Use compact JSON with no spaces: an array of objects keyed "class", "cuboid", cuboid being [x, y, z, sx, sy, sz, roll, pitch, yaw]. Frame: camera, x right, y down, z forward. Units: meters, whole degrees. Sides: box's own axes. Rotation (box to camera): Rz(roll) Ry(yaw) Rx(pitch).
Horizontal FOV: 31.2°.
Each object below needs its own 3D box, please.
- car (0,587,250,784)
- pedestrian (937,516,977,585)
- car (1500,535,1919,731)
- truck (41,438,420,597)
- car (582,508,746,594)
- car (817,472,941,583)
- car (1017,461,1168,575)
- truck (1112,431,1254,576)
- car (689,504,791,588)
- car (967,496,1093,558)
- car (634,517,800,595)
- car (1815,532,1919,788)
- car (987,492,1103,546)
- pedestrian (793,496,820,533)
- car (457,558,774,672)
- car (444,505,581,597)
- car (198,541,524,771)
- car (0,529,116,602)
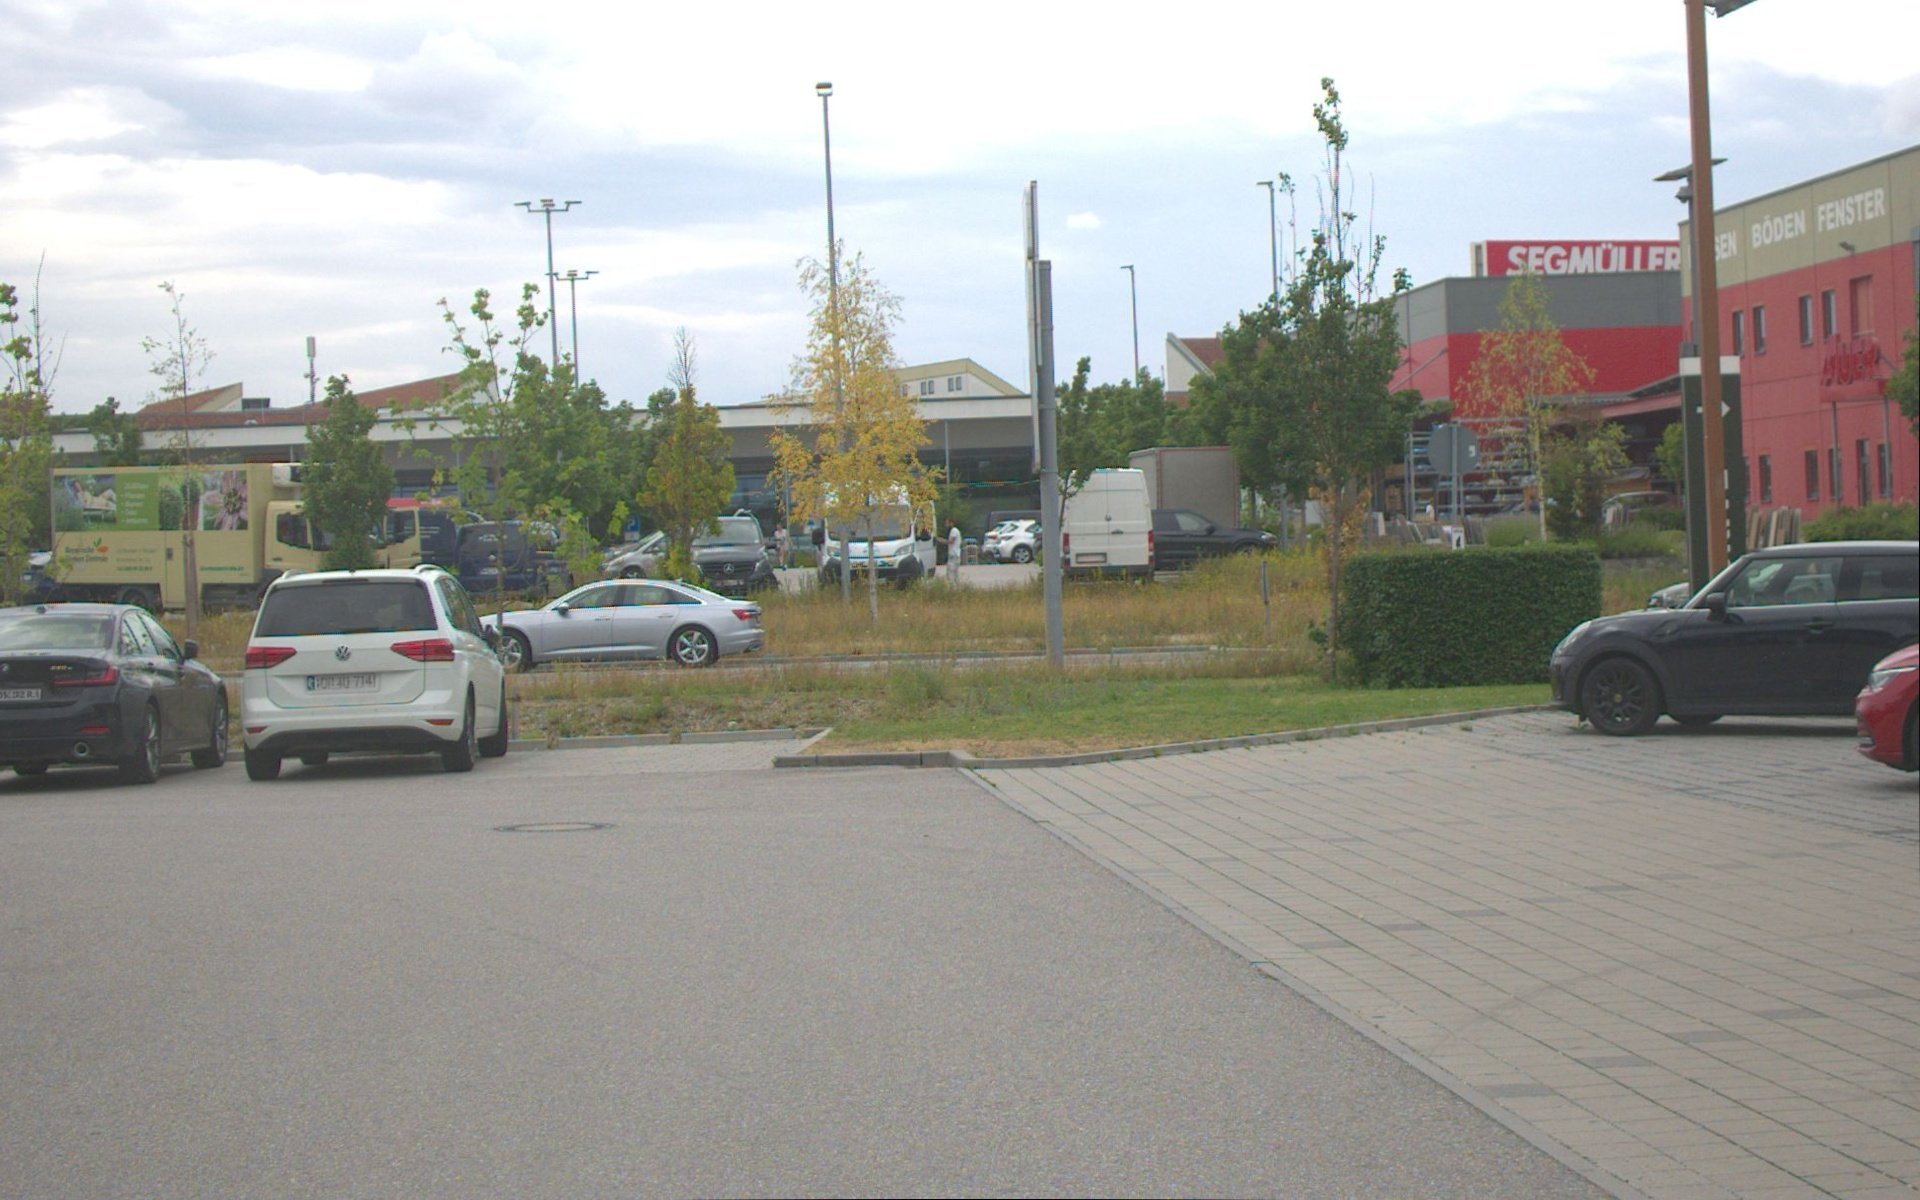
[{"class":"car","cuboid":[-7.265,0.688,28.339,1.941,1.461,4.516,-2,-1,-1]},{"class":"pedestrian","cuboid":[-0.063,-1.066,73.684,0.785,1.424,0.978,-2,2,-2]},{"class":"car","cuboid":[6.293,0.227,26.256,3.925,1.407,1.684,0,1,34]},{"class":"truck","cuboid":[-15.989,-1.773,75.093,8.421,3.185,3.024,0,3,35]},{"class":"car","cuboid":[-7.700,-1.283,89.142,3.986,2.006,2.001,-3,2,-10]},{"class":"car","cuboid":[-1.802,-1.606,74.237,2.408,2.206,6.061,-2,2,-3]},{"class":"car","cuboid":[2.807,-1.822,74.366,2.337,2.259,6.508,-2,3,-5]},{"class":"truck","cuboid":[6.104,-2.736,95.434,2.647,3.730,8.258,-2,3,-4]},{"class":"car","cuboid":[-4.709,-1.194,73.874,2.071,1.633,5.071,-2,2,-3]},{"class":"car","cuboid":[2.278,-2.394,112.624,3.987,1.831,2.000,-2,2,0]},{"class":"car","cuboid":[-6.002,-1.099,84.962,3.986,1.732,1.891,-2,2,-3]},{"class":"car","cuboid":[7.106,0.323,19.556,3.995,1.459,1.684,0,1,36]},{"class":"car","cuboid":[2.979,-2.858,121.184,3.987,1.730,1.935,-2,2,0]},{"class":"pedestrian","cuboid":[-5.973,-3.322,133.529,0.651,1.424,0.798,-4,3,-40]},{"class":"car","cuboid":[-5.438,0.219,54.763,4.838,1.546,1.802,-2,2,-1]},{"class":"car","cuboid":[-9.663,-1.066,74.621,2.071,1.878,5.070,-1,1,2]},{"class":"car","cuboid":[-4.855,0.455,28.455,1.986,1.707,4.372,-2,-1,-1]},{"class":"car","cuboid":[-24.721,-0.895,90.910,4.306,1.765,2.000,-2,2,-3]}]
